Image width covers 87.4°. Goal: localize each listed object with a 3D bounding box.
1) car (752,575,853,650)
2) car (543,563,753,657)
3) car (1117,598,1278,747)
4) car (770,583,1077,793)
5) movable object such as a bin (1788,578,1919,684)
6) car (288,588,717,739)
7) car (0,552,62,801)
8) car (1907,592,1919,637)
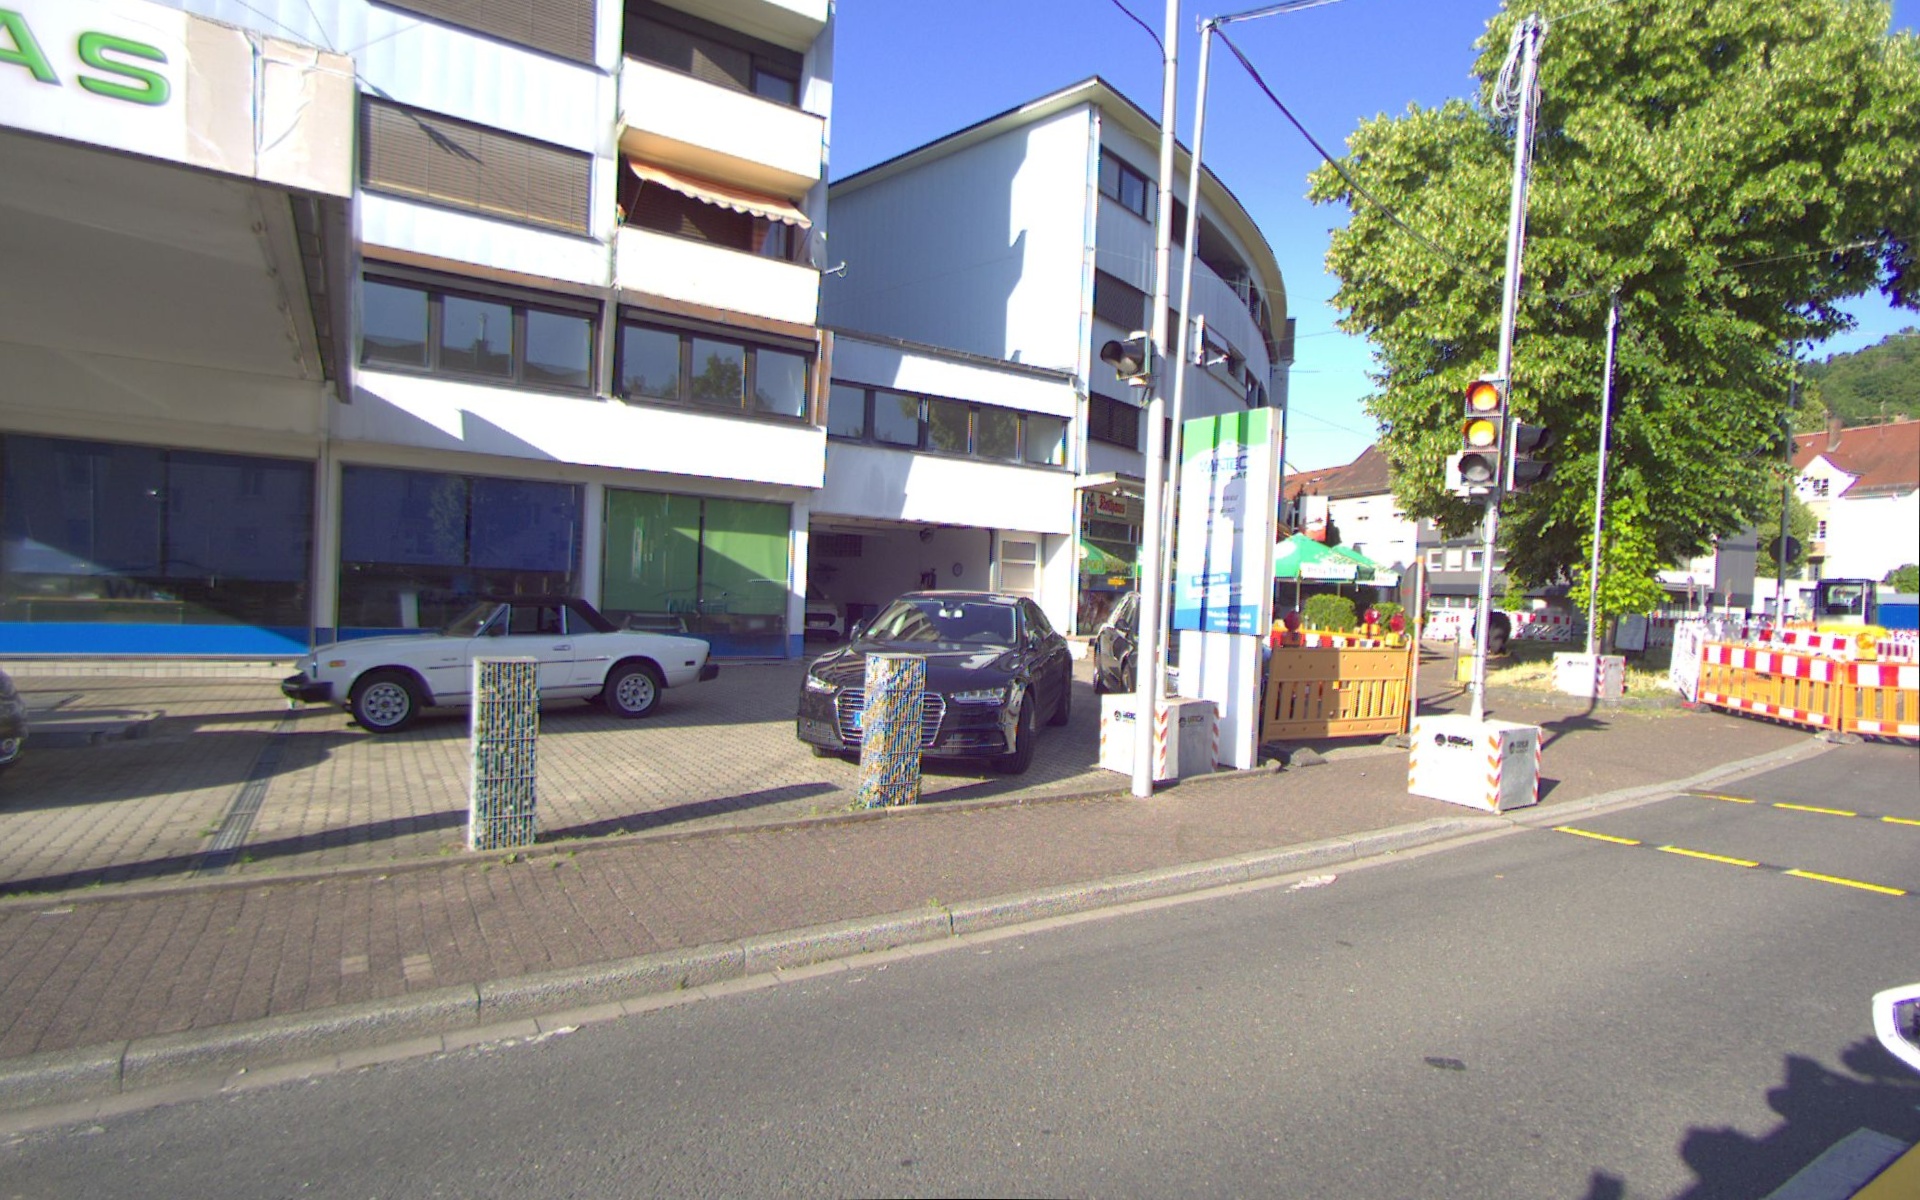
[{"bbox_3d":[-3.892,0.254,24.382,1.550,1.629,3.734,2,1,-23],"label":"car"},{"bbox_3d":[-6.099,0.218,19.711,3.593,1.696,1.707,2,0,-34],"label":"car"},{"bbox_3d":[2.760,0.746,12.081,1.564,1.457,3.887,1,0,11],"label":"car"},{"bbox_3d":[-0.023,0.650,9.572,1.893,1.457,4.692,1,-1,11],"label":"car"},{"bbox_3d":[21.562,0.704,24.118,3.882,2.356,1.635,1,0,-36],"label":"movable object such as a bin"},{"bbox_3d":[-4.674,0.592,10.488,3.865,1.315,1.511,1,-1,-35],"label":"car"},{"bbox_3d":[-7.480,0.408,5.860,3.305,1.506,1.543,2,0,8],"label":"car"},{"bbox_3d":[49.509,0.794,48.466,6.043,2.149,2.586,2,0,-12],"label":"car"}]
